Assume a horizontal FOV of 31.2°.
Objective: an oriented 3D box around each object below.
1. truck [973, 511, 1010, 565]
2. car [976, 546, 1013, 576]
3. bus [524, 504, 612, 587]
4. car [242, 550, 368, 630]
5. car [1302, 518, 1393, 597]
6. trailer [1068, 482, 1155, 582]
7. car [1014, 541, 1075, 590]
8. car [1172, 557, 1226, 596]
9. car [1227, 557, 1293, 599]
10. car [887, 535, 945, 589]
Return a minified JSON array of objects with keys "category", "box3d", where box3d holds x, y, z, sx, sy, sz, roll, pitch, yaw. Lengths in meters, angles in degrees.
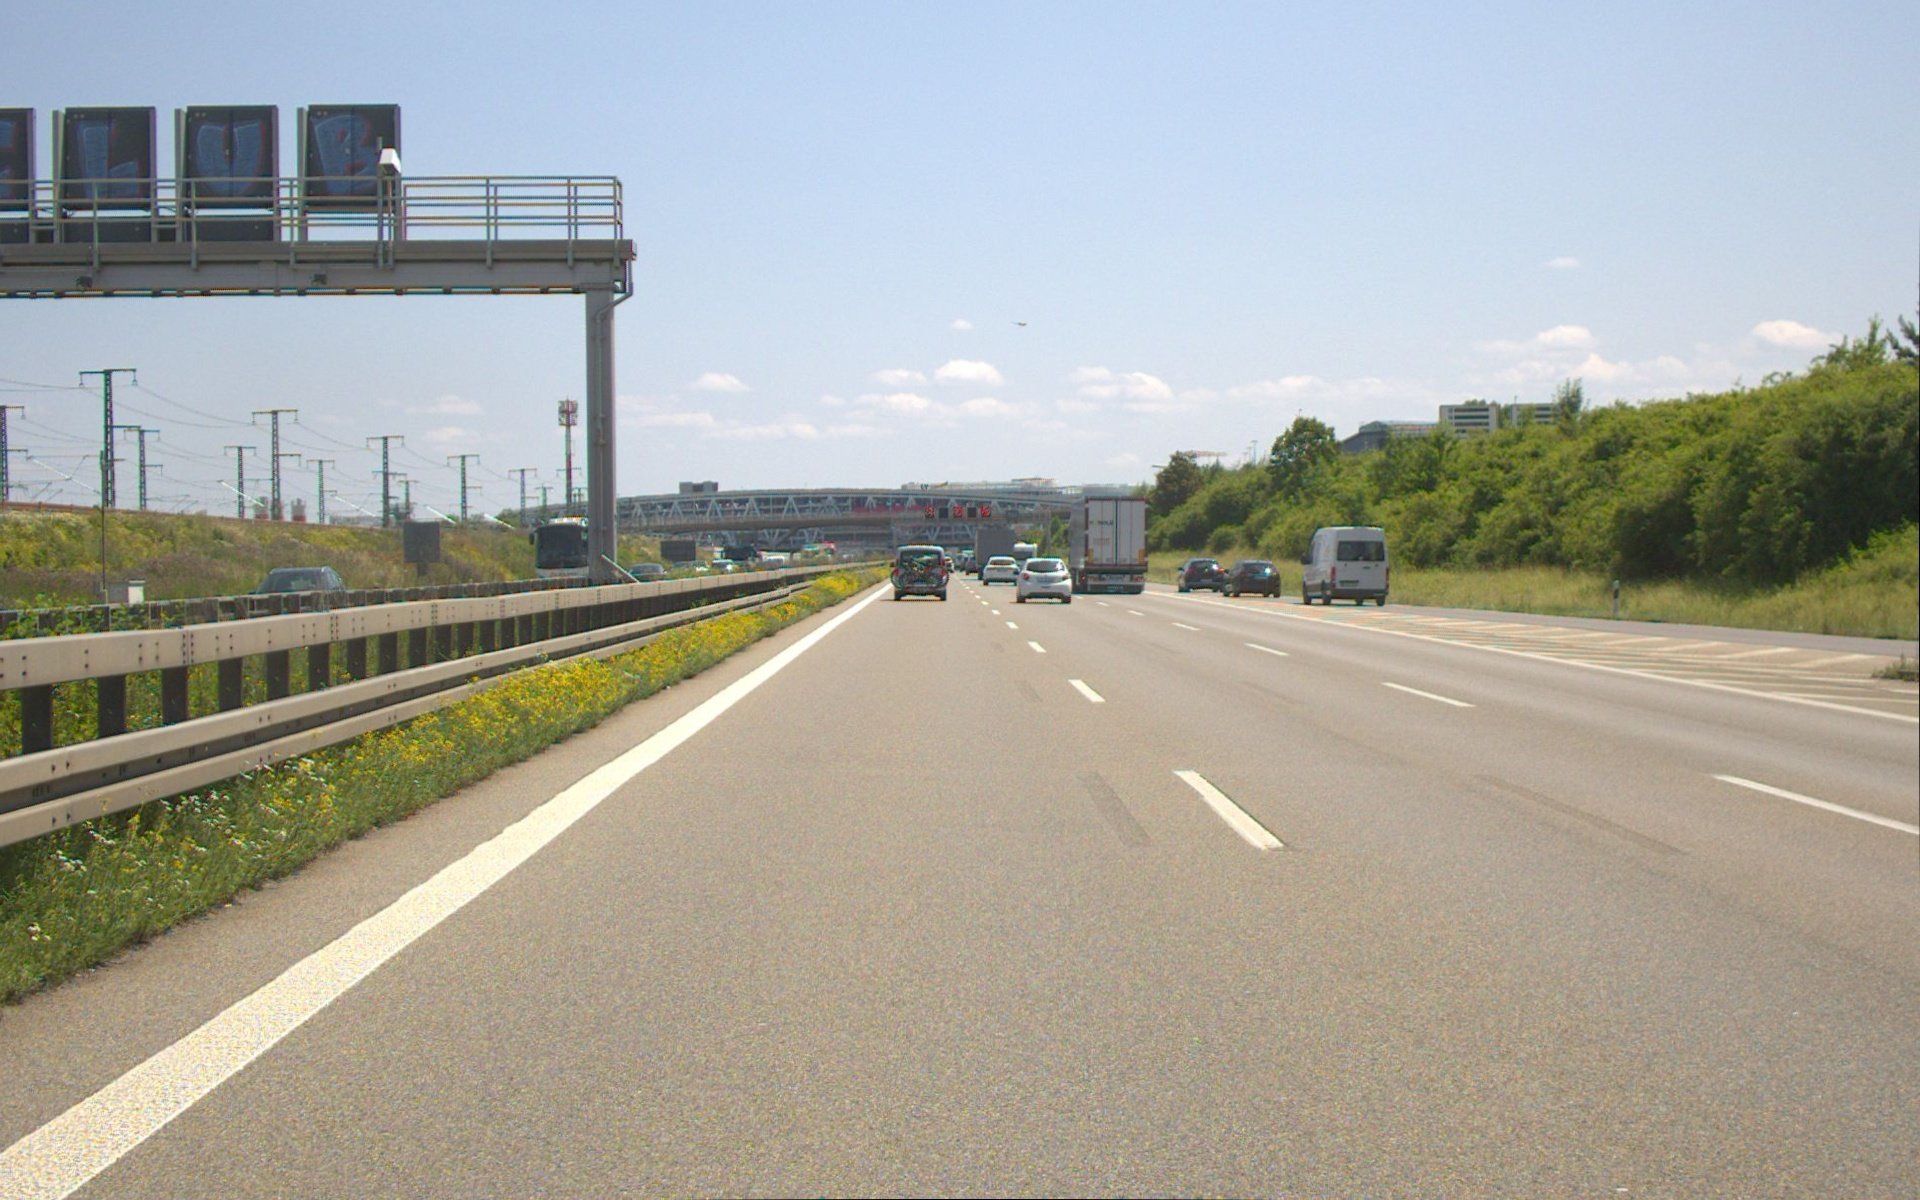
[{"category":"truck","box3d":[2.016,-3.982,221.891,2.355,3.404,6.057,0,1,0]},{"category":"car","box3d":[1.818,-2.025,178.708,1.881,1.521,4.000,1,0,1]},{"category":"bus","box3d":[-18.021,-2.506,158.696,2.857,3.633,10.941,1,1,-1]},{"category":"car","box3d":[-13.299,-0.223,69.978,1.804,1.568,4.000,0,1,0]},{"category":"car","box3d":[12.750,-1.411,113.480,2.274,2.519,5.400,0,1,-1]},{"category":"trailer","box3d":[6.296,-2.831,144.404,3.177,4.046,9.440,-1,1,0]},{"category":"car","box3d":[2.753,-1.113,111.749,1.881,1.521,4.000,1,0,3]},{"category":"car","box3d":[10.570,-1.038,152.141,1.993,1.590,4.000,1,-1,-1]},{"category":"car","box3d":[11.521,-0.820,132.167,1.993,1.503,4.000,2,-1,-3]},{"category":"car","box3d":[-1.452,-1.254,115.416,1.881,1.769,4.000,0,0,0]}]
